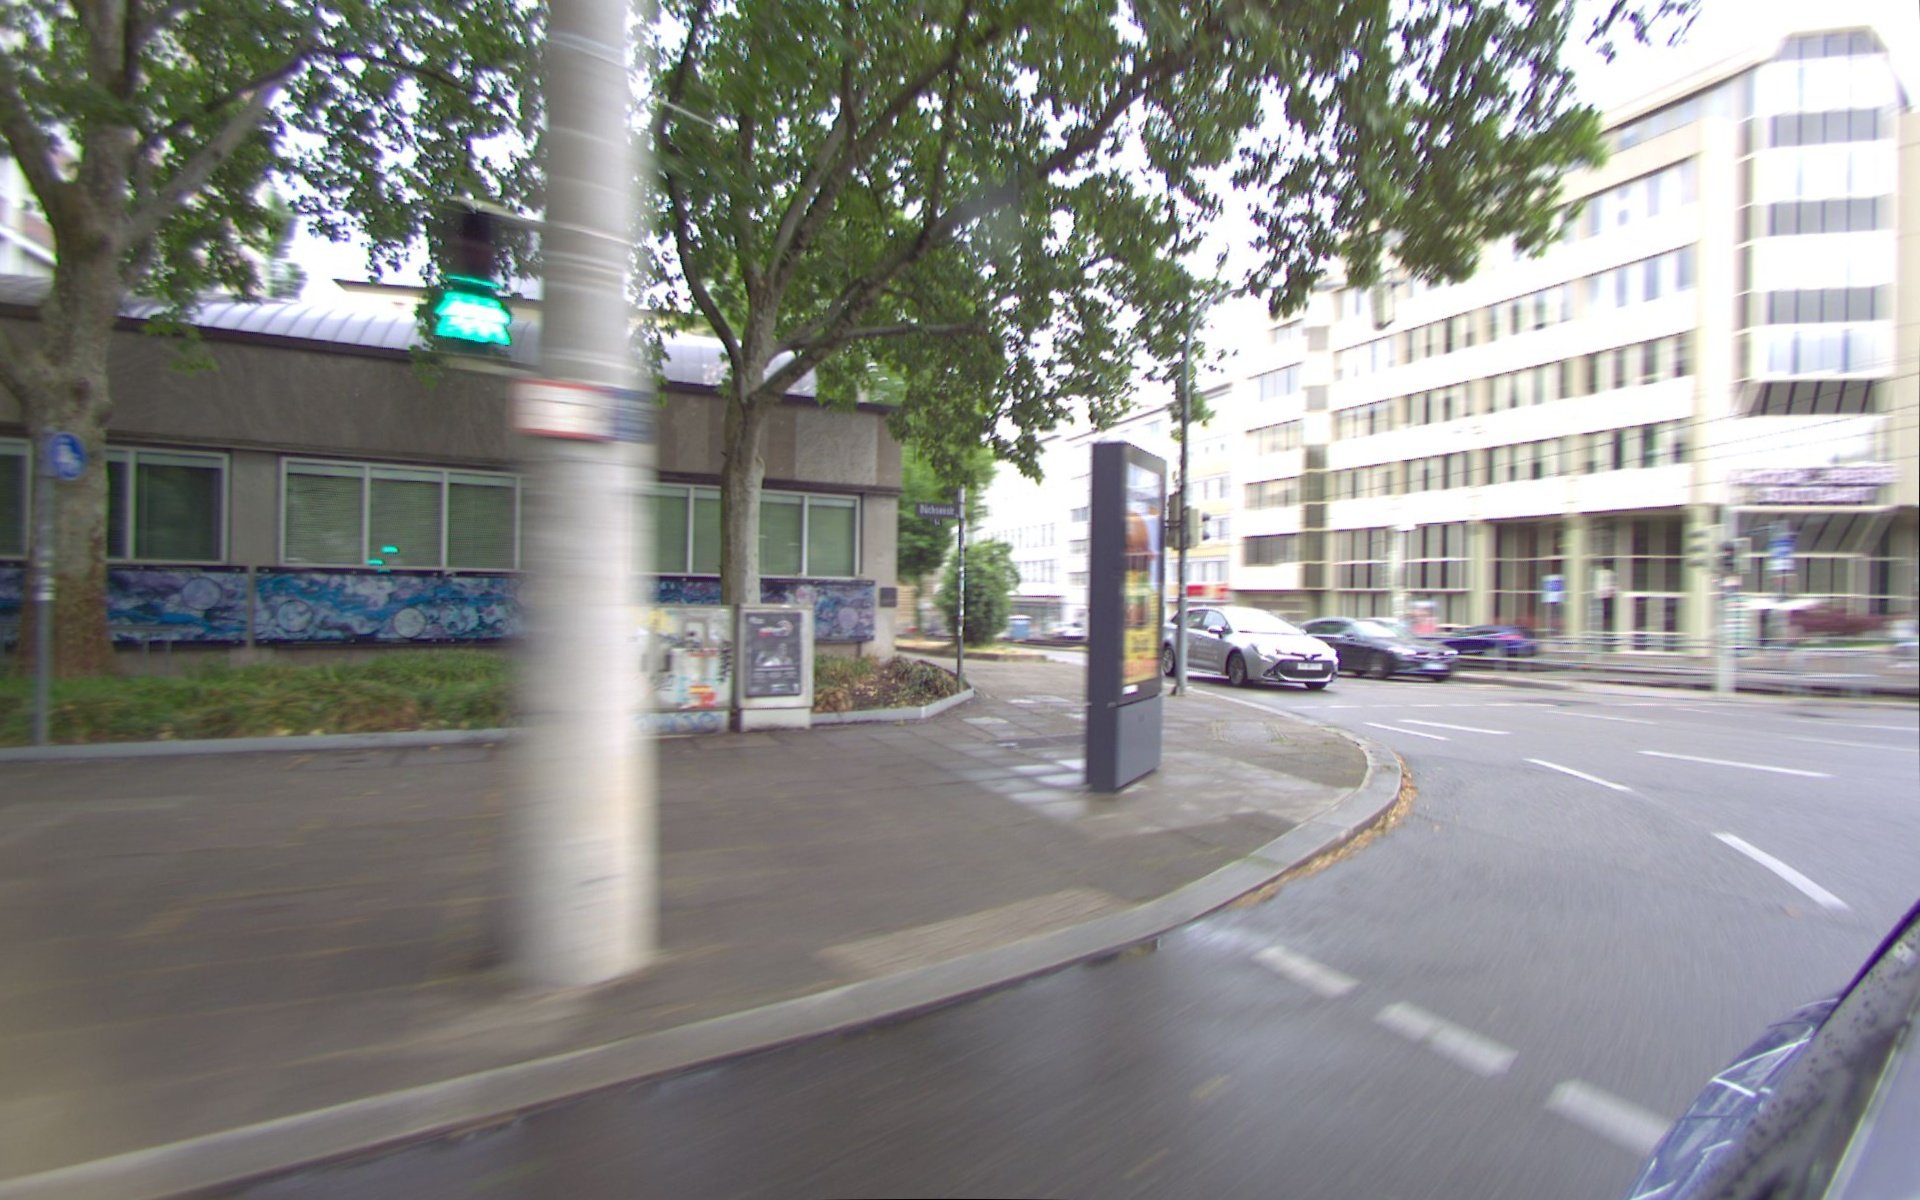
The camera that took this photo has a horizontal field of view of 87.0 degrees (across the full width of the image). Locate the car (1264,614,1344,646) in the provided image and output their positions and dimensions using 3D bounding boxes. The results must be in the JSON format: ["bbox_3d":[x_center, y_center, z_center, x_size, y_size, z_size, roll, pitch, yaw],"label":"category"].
[{"bbox_3d":[17.934,1.544,52.974,1.764,1.533,4.085,0,0,-21],"label":"car"}]

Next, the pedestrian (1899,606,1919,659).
[{"bbox_3d":[29.876,1.008,31.660,0.717,1.659,0.749,-1,0,42],"label":"pedestrian"}]

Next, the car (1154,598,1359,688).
[{"bbox_3d":[5.400,0.755,19.081,1.775,1.453,4.305,2,-1,-13],"label":"car"}]

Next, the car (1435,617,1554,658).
[{"bbox_3d":[21.806,1.502,41.484,1.763,1.496,4.225,3,-1,-19],"label":"car"}]

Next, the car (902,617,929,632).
[{"bbox_3d":[-5.330,2.854,119.834,1.850,1.645,4.486,0,0,-21],"label":"car"}]

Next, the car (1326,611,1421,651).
[{"bbox_3d":[19.602,1.425,48.158,1.764,1.768,4.225,0,0,-22],"label":"car"}]

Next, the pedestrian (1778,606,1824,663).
[{"bbox_3d":[27.334,1.122,32.891,0.744,1.809,0.832,0,0,-9],"label":"pedestrian"}]

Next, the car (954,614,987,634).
[{"bbox_3d":[1.015,2.389,101.633,1.850,1.960,4.486,0,0,-21],"label":"car"}]

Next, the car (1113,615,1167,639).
[{"bbox_3d":[12.283,1.809,69.268,1.764,1.533,4.085,0,0,-21],"label":"car"}]

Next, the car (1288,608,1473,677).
[{"bbox_3d":[9.874,0.961,24.176,1.764,1.461,4.483,2,-1,-13],"label":"car"}]
